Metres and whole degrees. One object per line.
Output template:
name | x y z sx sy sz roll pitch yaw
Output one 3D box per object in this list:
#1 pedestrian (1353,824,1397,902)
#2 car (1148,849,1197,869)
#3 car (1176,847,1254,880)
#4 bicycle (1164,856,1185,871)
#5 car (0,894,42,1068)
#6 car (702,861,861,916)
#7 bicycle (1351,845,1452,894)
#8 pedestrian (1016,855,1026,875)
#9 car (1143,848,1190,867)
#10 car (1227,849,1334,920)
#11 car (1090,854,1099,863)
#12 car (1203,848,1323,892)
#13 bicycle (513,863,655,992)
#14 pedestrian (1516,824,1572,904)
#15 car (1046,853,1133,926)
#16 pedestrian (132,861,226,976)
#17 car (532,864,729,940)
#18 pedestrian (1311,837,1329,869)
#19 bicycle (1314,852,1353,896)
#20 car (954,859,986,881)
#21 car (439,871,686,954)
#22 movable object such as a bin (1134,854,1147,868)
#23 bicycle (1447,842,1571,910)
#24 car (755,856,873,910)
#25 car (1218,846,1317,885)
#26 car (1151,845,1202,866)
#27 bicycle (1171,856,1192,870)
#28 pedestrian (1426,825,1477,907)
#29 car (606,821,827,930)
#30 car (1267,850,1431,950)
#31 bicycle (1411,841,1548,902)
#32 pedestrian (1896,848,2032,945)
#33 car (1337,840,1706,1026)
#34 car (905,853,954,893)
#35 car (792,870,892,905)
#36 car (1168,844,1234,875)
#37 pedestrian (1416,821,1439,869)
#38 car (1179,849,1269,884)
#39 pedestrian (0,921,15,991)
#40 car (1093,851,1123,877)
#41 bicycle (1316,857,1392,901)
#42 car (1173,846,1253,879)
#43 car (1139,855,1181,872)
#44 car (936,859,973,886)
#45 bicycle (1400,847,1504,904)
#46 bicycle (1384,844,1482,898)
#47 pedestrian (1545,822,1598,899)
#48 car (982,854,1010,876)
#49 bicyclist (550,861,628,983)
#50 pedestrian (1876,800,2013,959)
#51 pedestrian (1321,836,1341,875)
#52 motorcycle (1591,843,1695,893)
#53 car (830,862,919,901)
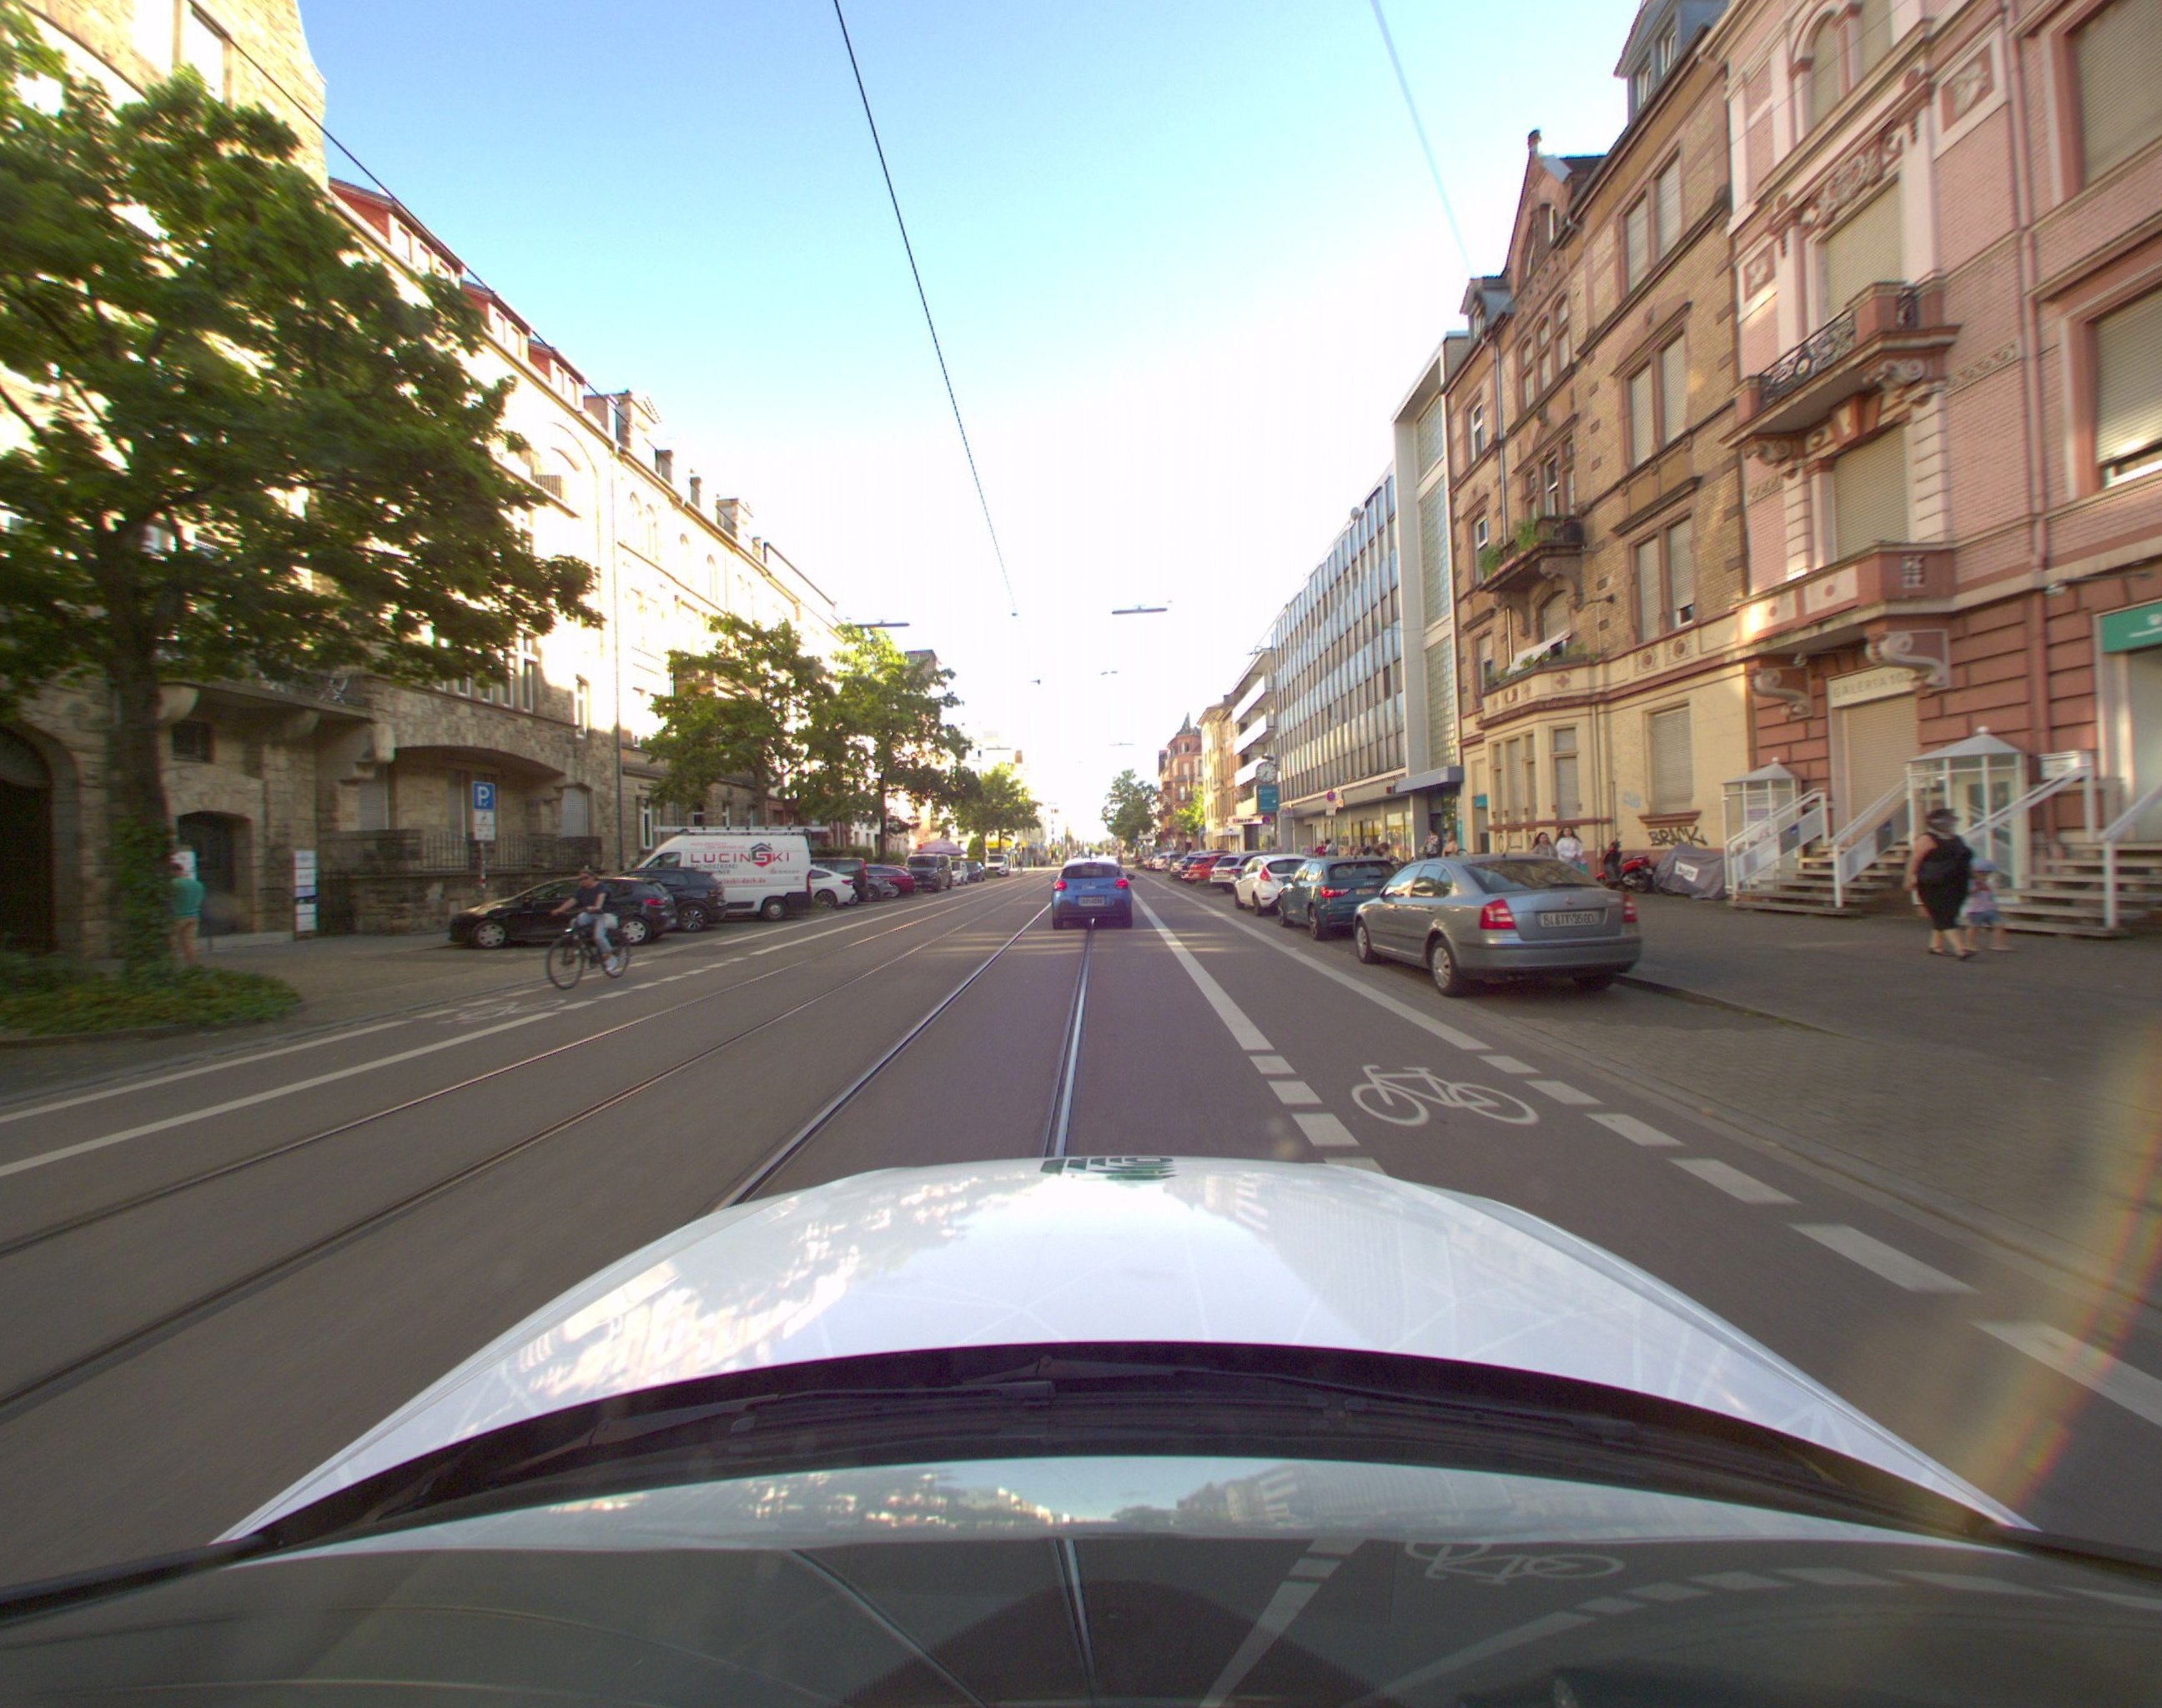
pedestrian | 6.477 0.201 17.984 0.709 1.671 0.654 -1 -1 0
car | 7.767 0.421 69.018 3.664 1.574 1.849 -1 -1 -18
car | 6.671 0.472 40.424 3.463 1.555 1.806 -1 -1 -30
bicycle | 7.137 0.726 62.016 0.557 1.047 1.789 -1 -1 -34
car | -11.010 1.132 5.821 4.008 1.489 1.790 -1 -1 -27
car | -10.052 1.108 27.479 4.787 1.618 1.695 -1 -1 -31
bicycle | 8.363 0.407 21.334 2.347 1.221 0.664 -1 -1 4
pedestrian | -5.483 0.992 74.136 0.732 1.726 0.623 -1 -1 -23
car | 7.564 0.295 72.166 3.664 1.574 1.849 -1 -1 -18
car | 4.976 0.716 20.873 1.866 1.596 4.002 -1 -1 2
car | 2.162 0.695 130.821 1.417 1.432 3.140 -1 -1 2
car | 6.893 0.577 30.719 4.465 1.508 1.522 -1 -1 -28
bicycle | -7.064 0.972 11.723 0.678 1.678 2.097 -1 -1 2
pedestrian | 9.807 0.215 17.273 0.709 1.607 0.654 -4 -1 0
car | 0.215 0.741 18.382 1.756 1.441 3.557 -1 -1 1
pedestrian | -13.953 0.972 12.616 0.575 1.726 0.762 -1 -1 1
car | -10.764 1.093 19.796 4.005 1.618 1.699 -1 -1 -24
pedestrian | 12.158 -0.043 41.441 0.690 1.588 0.678 -1 -1 1
bicycle | 6.938 0.541 22.464 0.690 1.185 1.239 -1 -1 1
car | -7.902 1.144 58.202 1.742 1.487 4.039 -1 -1 -1
car | -10.691 1.160 17.122 3.994 1.489 1.797 -1 -1 -15
movable object such as a bin | 6.429 0.798 88.049 1.389 1.483 1.656 -1 -1 1
bicycle | 8.324 0.420 15.884 2.050 1.221 0.663 -2 -1 -1
car | -9.926 1.045 30.312 4.005 1.817 1.699 -1 -1 -24
car | 7.801 0.462 34.036 3.796 1.487 1.822 -1 -1 -28
car | 7.752 0.117 66.102 3.674 1.574 1.844 -1 -1 -27
bicycle | 7.674 0.708 62.363 0.557 1.047 1.789 -1 -1 -34
pedestrian | 7.490 0.246 16.497 0.709 1.607 0.654 -1 -1 0
car | -10.058 0.523 22.717 5.402 2.749 1.789 -1 -1 -29
car | 4.837 0.768 15.334 1.866 1.596 4.002 -1 -1 2
bicycle | 8.368 0.367 17.166 2.529 1.221 0.664 -1 -1 1
pedestrian | 9.775 0.457 9.042 0.709 0.980 0.654 -5 -1 0
car | 4.599 0.711 9.503 1.866 1.596 4.721 -1 -1 2
car | -8.041 0.957 43.661 1.742 1.973 5.237 -1 -1 -1
car | -9.833 1.346 33.520 3.815 1.265 1.504 -1 -1 -24
car | 6.817 0.302 46.081 3.467 1.640 1.666 -1 -1 -35
pedestrian | 13.395 -0.335 31.506 0.718 1.806 0.725 -1 -1 19
car | 6.662 0.558 37.846 3.743 1.521 1.949 -1 -1 -32
pedestrian | -14.631 1.377 10.810 0.353 0.922 0.459 -1 -1 1
car | 1.748 0.650 52.587 1.866 1.596 4.002 -1 -1 2
bicycle | 7.936 0.736 23.709 2.001 1.221 0.667 -1 -1 24
car | 7.037 0.460 43.385 3.743 1.652 2.027 -1 -1 -32
car | 7.622 0.905 78.724 3.664 1.534 1.778 -1 -1 -18
car | -8.145 1.178 52.645 1.742 1.618 4.408 -1 -1 -1
bicycle | 8.336 0.476 18.337 2.012 1.221 0.664 -1 -1 1
bicycle | 8.333 0.396 19.315 2.012 1.221 0.664 -1 -1 1
pedestrian | 10.536 0.147 17.509 0.709 1.607 0.654 -1 -1 0
car | -7.438 0.974 71.745 1.825 1.848 4.215 -1 -1 2
bicyclist | -7.056 0.954 11.706 0.632 1.681 0.727 -1 -1 1
pedestrian | 9.104 0.259 8.610 0.709 1.607 0.654 -1 -1 0
pedestrian | 11.225 0.068 36.589 0.690 1.756 0.678 -1 -1 1
motorcycle | 12.182 0.294 17.766 0.505 0.992 2.520 -5 -1 2
car | -9.332 1.220 36.775 3.736 1.622 1.777 -1 -1 -20
